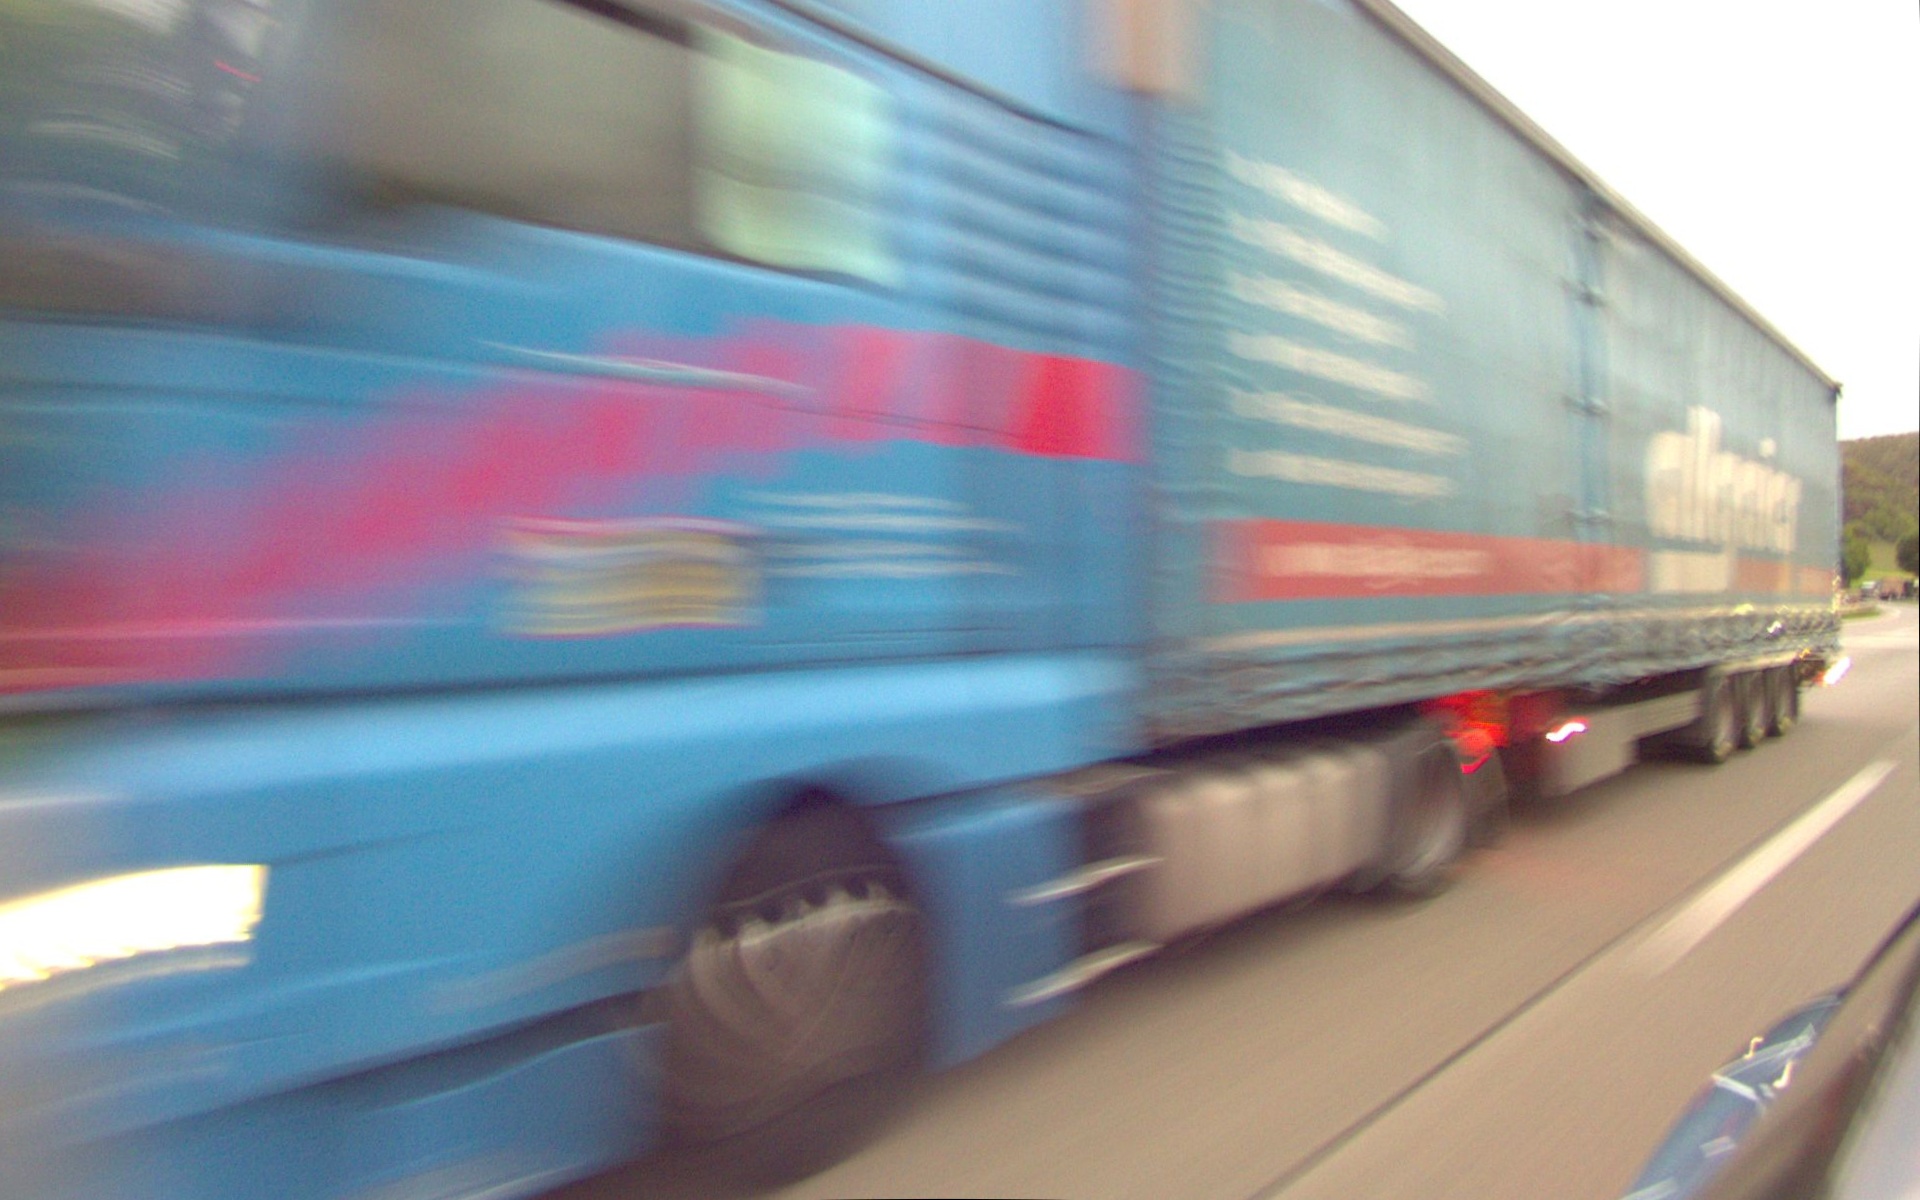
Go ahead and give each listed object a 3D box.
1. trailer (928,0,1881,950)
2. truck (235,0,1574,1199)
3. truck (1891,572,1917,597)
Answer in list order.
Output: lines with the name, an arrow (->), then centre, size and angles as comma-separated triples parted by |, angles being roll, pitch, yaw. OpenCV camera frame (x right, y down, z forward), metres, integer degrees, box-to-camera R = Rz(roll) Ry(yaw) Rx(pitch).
trailer -> 5.770, -0.772, 9.493 | 13.501, 4.138, 2.776 | -1, 1, -41
truck -> 0.308, -0.685, 4.677 | 5.747, 4.047, 2.741 | -1, 1, -41
truck -> 154.853, -2.495, 166.055 | 2.838, 3.964, 11.806 | 2, 2, 42
